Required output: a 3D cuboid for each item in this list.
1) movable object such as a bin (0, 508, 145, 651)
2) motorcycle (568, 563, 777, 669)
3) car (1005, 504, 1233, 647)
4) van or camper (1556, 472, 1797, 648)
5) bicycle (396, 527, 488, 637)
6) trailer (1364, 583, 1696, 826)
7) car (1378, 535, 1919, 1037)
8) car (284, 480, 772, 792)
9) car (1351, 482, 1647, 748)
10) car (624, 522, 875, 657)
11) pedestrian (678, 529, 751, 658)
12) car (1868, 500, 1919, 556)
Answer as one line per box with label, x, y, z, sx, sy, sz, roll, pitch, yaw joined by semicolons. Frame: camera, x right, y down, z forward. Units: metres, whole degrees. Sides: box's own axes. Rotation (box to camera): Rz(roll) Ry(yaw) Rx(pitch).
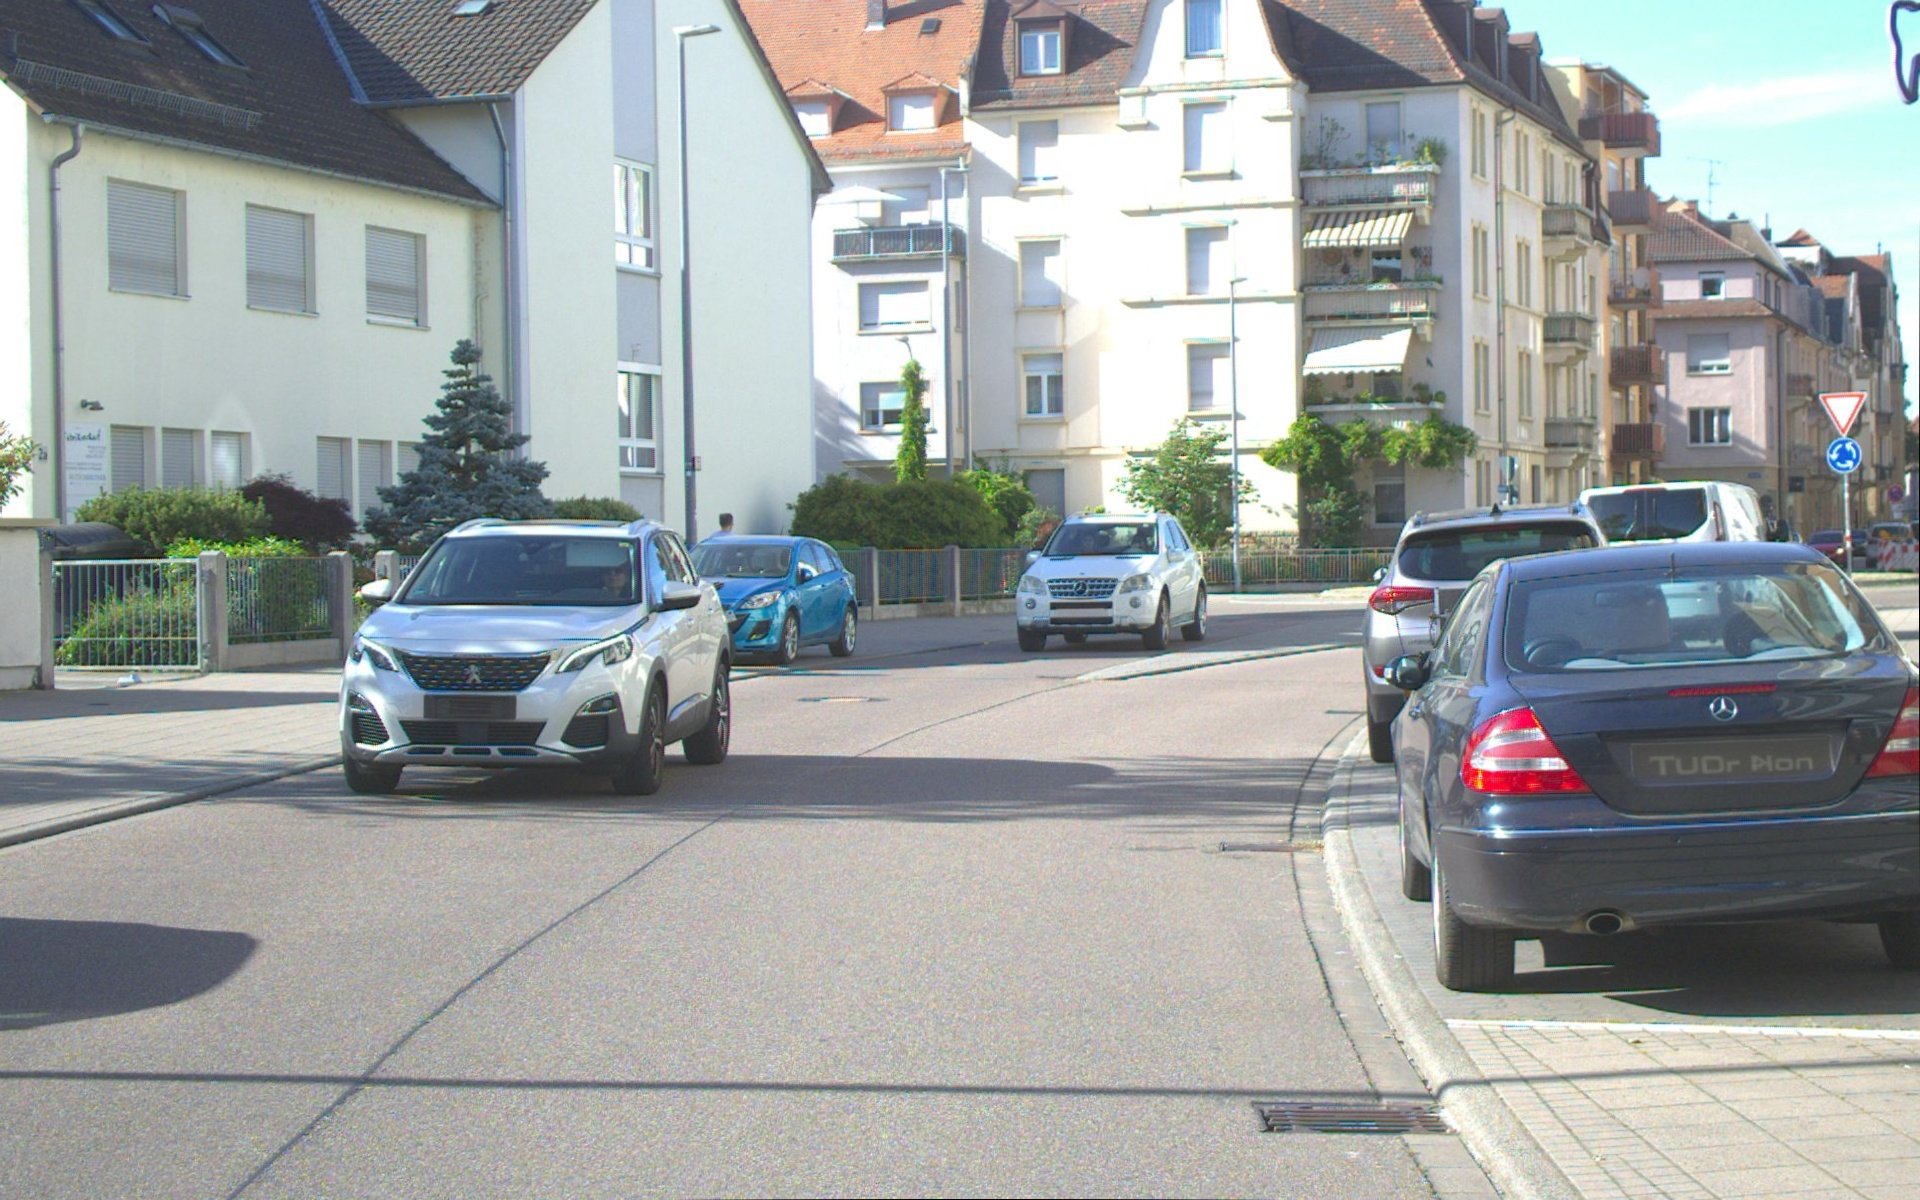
movable object such as a bin;-9.630;-0.206;36.880;1.283;1.485;1.226;-1;-1;15
motorcycle;-3.144;0.161;37.576;2.060;1.015;0.946;3;3;25
car;2.173;-0.352;45.587;1.991;1.779;4.516;-1;1;16
van or camper;8.793;-0.516;41.876;2.022;1.940;4.698;-3;0;22
bicycle;-6.127;-0.193;40.756;0.456;1.246;1.927;-1;-1;11
trailer;3.099;0.516;18.448;1.603;1.174;2.941;-1;0;11
car;2.529;0.523;12.455;1.971;1.445;5.002;0;0;7
car;-2.534;0.255;21.300;1.920;1.719;4.335;-1;-1;8
car;3.736;0.149;23.847;1.818;1.648;4.558;-1;-1;9
car;-2.412;-0.170;40.489;1.798;1.468;4.328;1;2;13
pedestrian;-3.290;-0.082;46.075;0.683;1.698;0.823;-1;-2;20
car;31.597;-2.394;113.984;2.434;1.805;4.719;0;1;21
